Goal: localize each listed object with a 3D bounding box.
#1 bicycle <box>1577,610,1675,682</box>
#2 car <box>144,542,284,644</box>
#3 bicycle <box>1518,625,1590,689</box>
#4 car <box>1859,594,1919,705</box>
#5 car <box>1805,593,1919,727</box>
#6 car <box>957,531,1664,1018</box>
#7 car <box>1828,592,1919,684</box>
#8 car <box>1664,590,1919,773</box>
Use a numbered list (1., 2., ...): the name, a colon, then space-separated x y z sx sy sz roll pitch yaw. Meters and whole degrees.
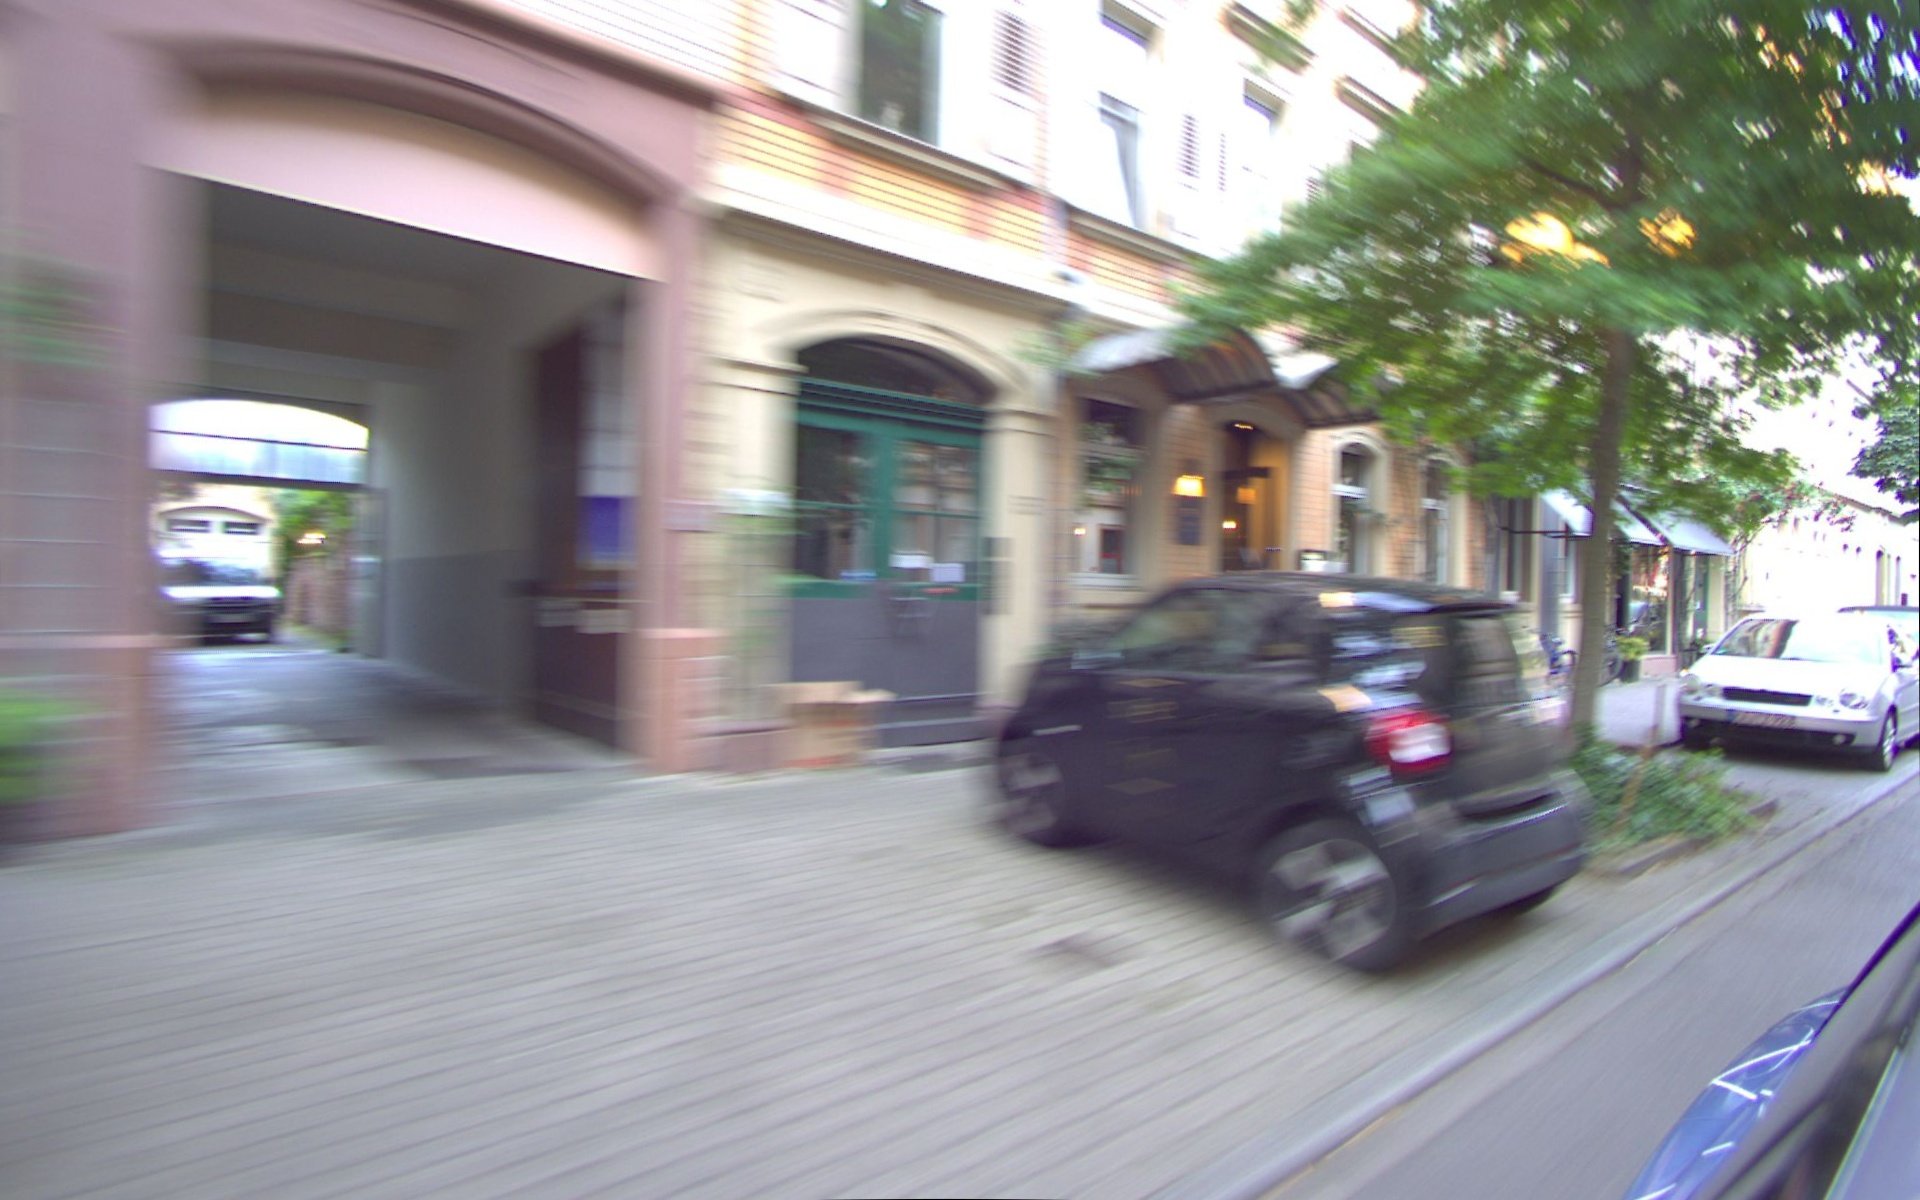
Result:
1. bicycle: 10.723 0.705 16.272 1.914 1.048 0.688 1 3 -38
2. car: -14.369 -0.182 19.416 1.814 1.755 3.876 -1 2 -42
3. bicycle: 8.780 0.817 14.948 1.520 0.870 0.446 1 0 -41
4. car: 14.893 0.728 15.434 2.868 1.571 1.466 1 1 -43
5. car: 12.397 0.731 13.225 3.068 1.580 1.594 1 0 -41
6. car: 1.573 0.537 5.125 1.768 1.618 2.806 1 4 -38
7. car: 17.762 0.720 18.404 1.498 1.592 2.722 1 2 -39
8. car: 9.033 0.707 10.554 4.030 1.509 1.737 1 1 -39
